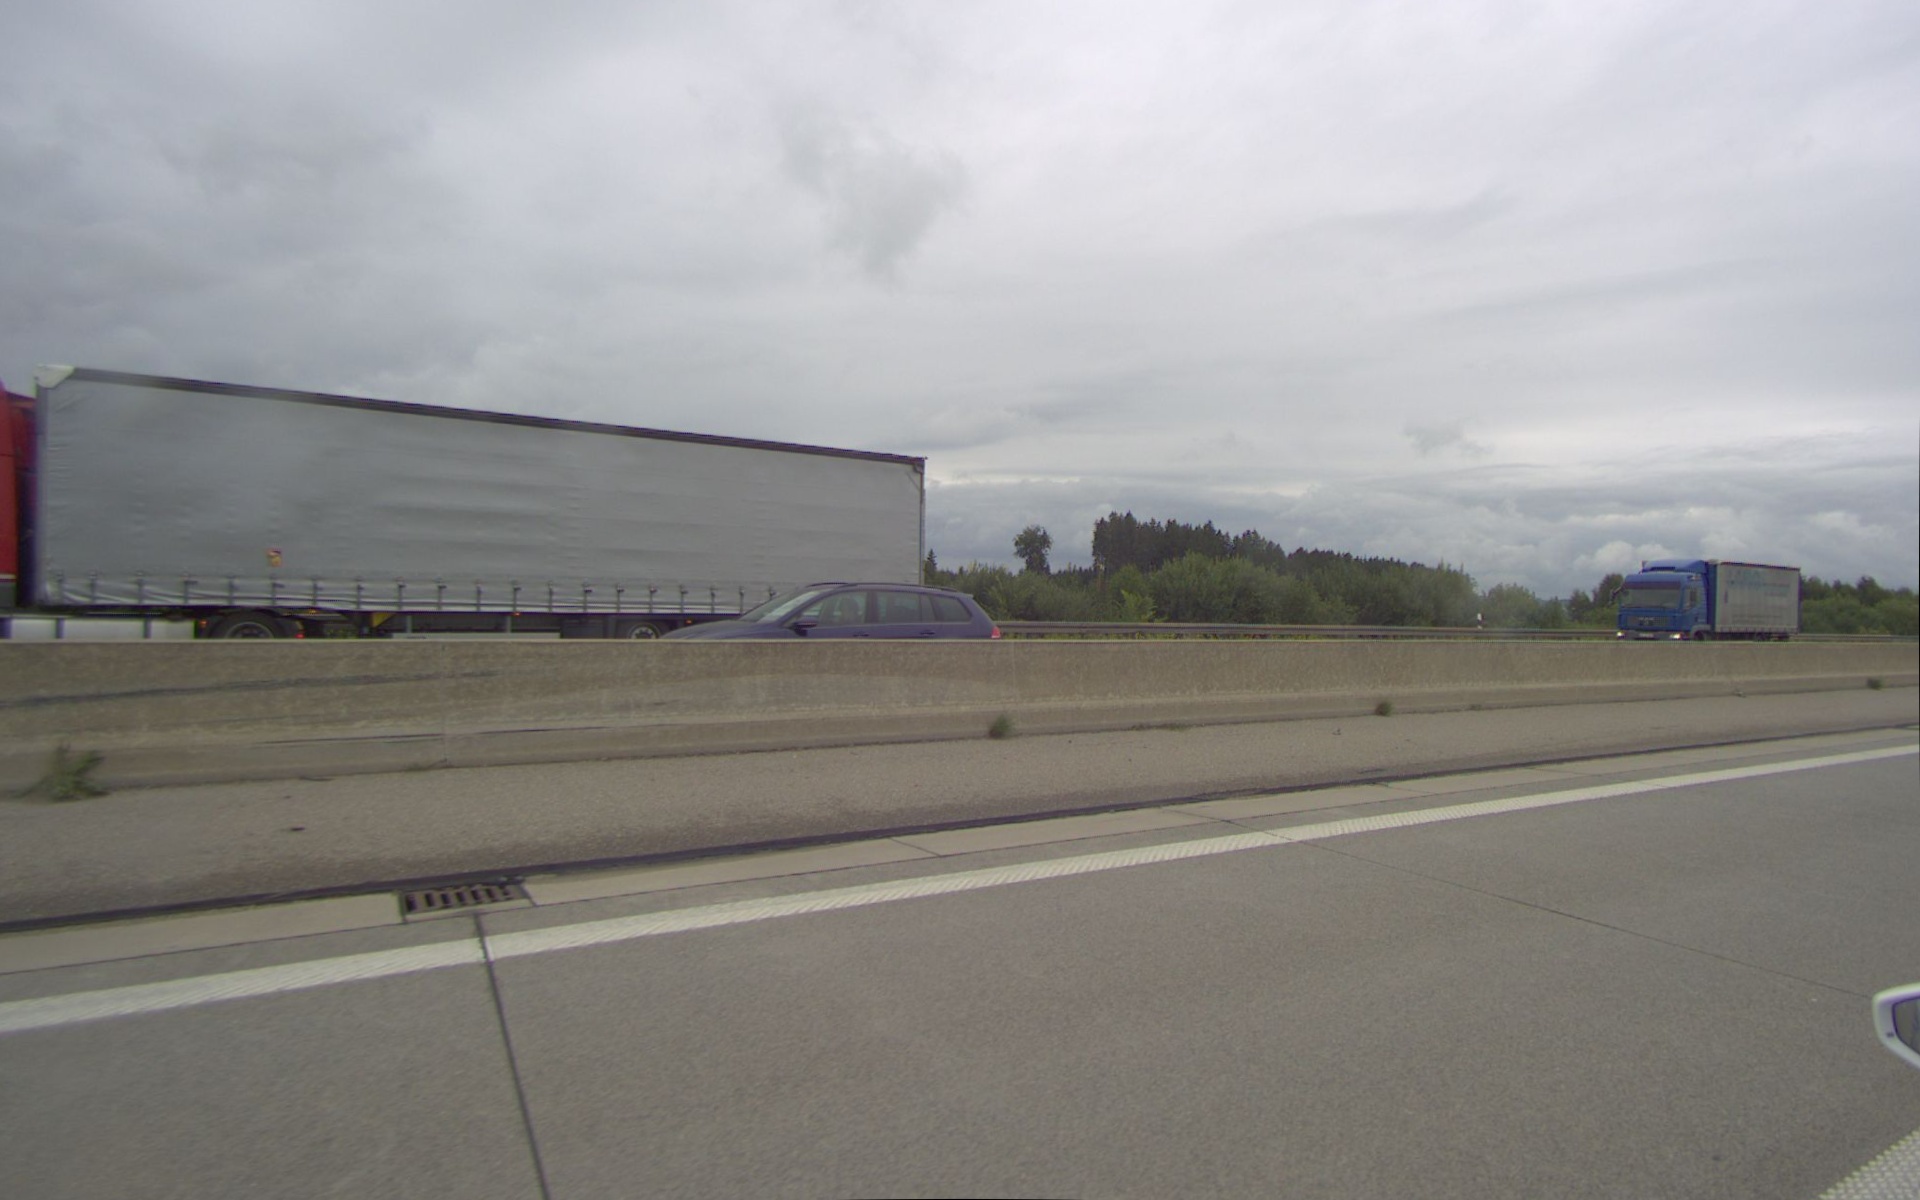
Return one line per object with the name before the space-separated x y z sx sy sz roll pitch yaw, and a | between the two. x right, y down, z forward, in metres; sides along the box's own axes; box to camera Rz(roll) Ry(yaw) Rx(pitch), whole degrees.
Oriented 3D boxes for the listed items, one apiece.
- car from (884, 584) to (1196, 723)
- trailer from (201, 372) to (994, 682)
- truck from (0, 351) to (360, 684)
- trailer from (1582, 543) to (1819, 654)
car | 1.169 0.684 14.103 4.132 1.701 1.705 1 0 -30
trailer | -5.725 -0.918 18.530 12.774 4.258 3.467 1 0 -30
truck | -12.548 -1.057 14.590 6.416 4.238 3.454 1 0 -30
trailer | 29.217 0.029 39.338 12.254 3.888 2.836 1 0 -31
